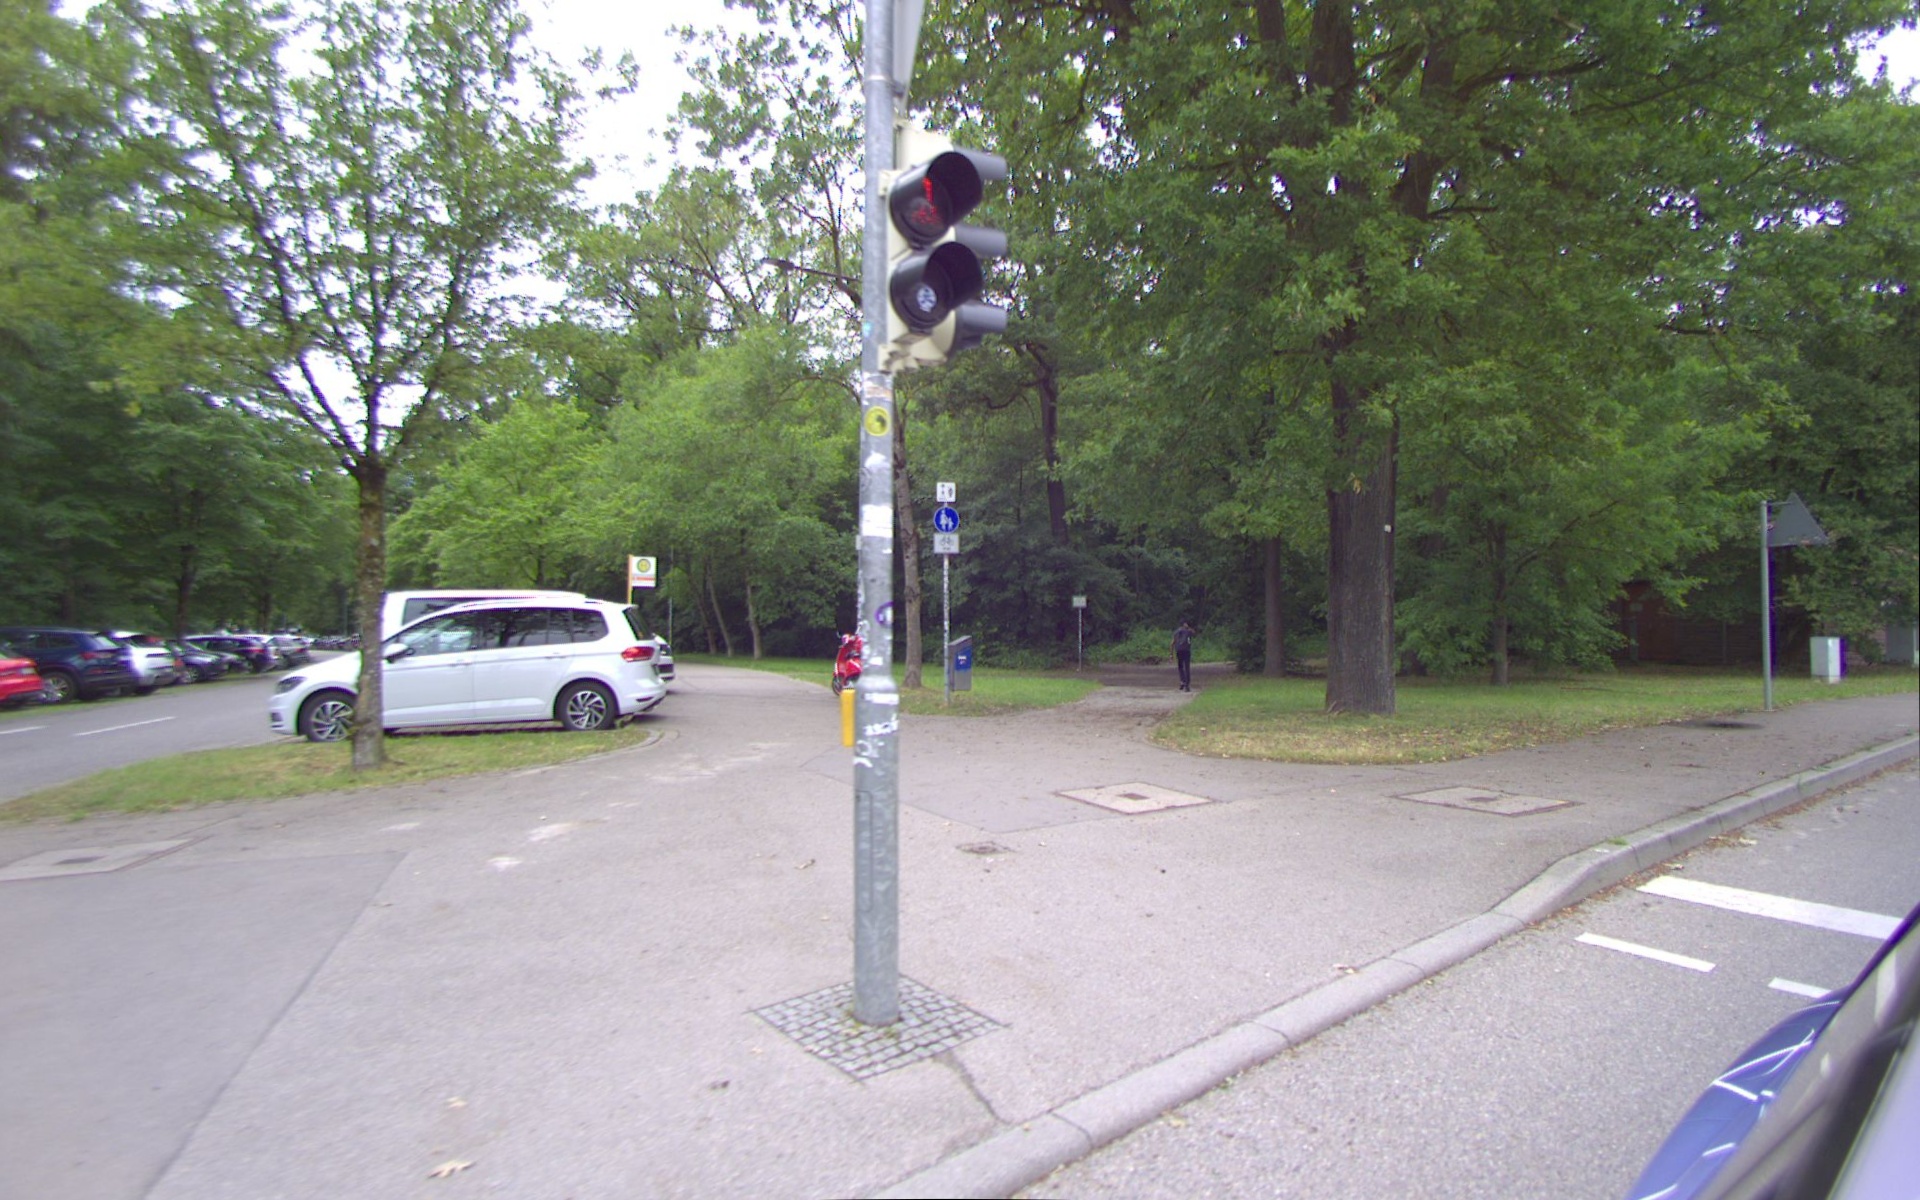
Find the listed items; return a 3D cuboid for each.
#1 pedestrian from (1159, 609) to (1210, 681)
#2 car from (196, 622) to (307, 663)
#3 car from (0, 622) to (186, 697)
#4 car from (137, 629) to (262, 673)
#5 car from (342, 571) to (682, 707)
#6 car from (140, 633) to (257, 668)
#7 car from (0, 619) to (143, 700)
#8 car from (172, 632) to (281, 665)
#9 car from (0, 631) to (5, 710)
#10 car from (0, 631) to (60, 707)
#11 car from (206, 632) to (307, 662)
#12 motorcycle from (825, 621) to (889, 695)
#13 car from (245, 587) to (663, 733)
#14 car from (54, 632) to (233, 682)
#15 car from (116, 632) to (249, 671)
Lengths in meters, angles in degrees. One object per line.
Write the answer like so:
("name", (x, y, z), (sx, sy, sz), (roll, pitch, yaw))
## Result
("pedestrian", (5.438, 1.075, 24.491), (0.829, 1.672, 1.021), (-2, -2, 38))
("car", (-33.703, 2.008, 48.282), (4.120, 1.809, 1.839), (0, -2, -28))
("car", (-21.108, 1.382, 24.086), (3.908, 1.639, 1.851), (0, -2, -24))
("car", (-27.738, 1.846, 37.038), (3.362, 1.491, 1.562), (0, -2, -24))
("car", (-7.554, 0.608, 17.602), (5.075, 1.982, 2.066), (-2, -1, -18))
("car", (-29.665, 1.941, 39.539), (3.362, 1.235, 1.562), (0, -2, -24))
("car", (-20.273, 1.264, 21.706), (3.908, 1.642, 1.851), (0, -2, -24))
("car", (-30.153, 1.966, 41.696), (3.362, 1.235, 1.562), (0, -2, -24))
("car", (-19.097, 1.282, 17.043), (3.965, 1.432, 1.831), (-1, -2, -20))
("car", (-19.940, 1.350, 19.440), (3.532, 1.432, 1.786), (0, -2, -20))
("car", (-30.560, 2.026, 44.086), (3.362, 1.235, 1.562), (0, -2, -24))
("motorcycle", (-1.856, 0.999, 17.992), (0.578, 1.219, 1.960), (0, -2, -22))
("car", (-6.002, 0.678, 12.619), (4.328, 1.572, 2.003), (-1, -2, -14))
("car", (-24.754, 1.697, 30.848), (3.908, 1.378, 1.743), (0, -2, -24))
("car", (-26.651, 1.745, 34.812), (3.362, 1.235, 1.562), (0, -2, -24))
